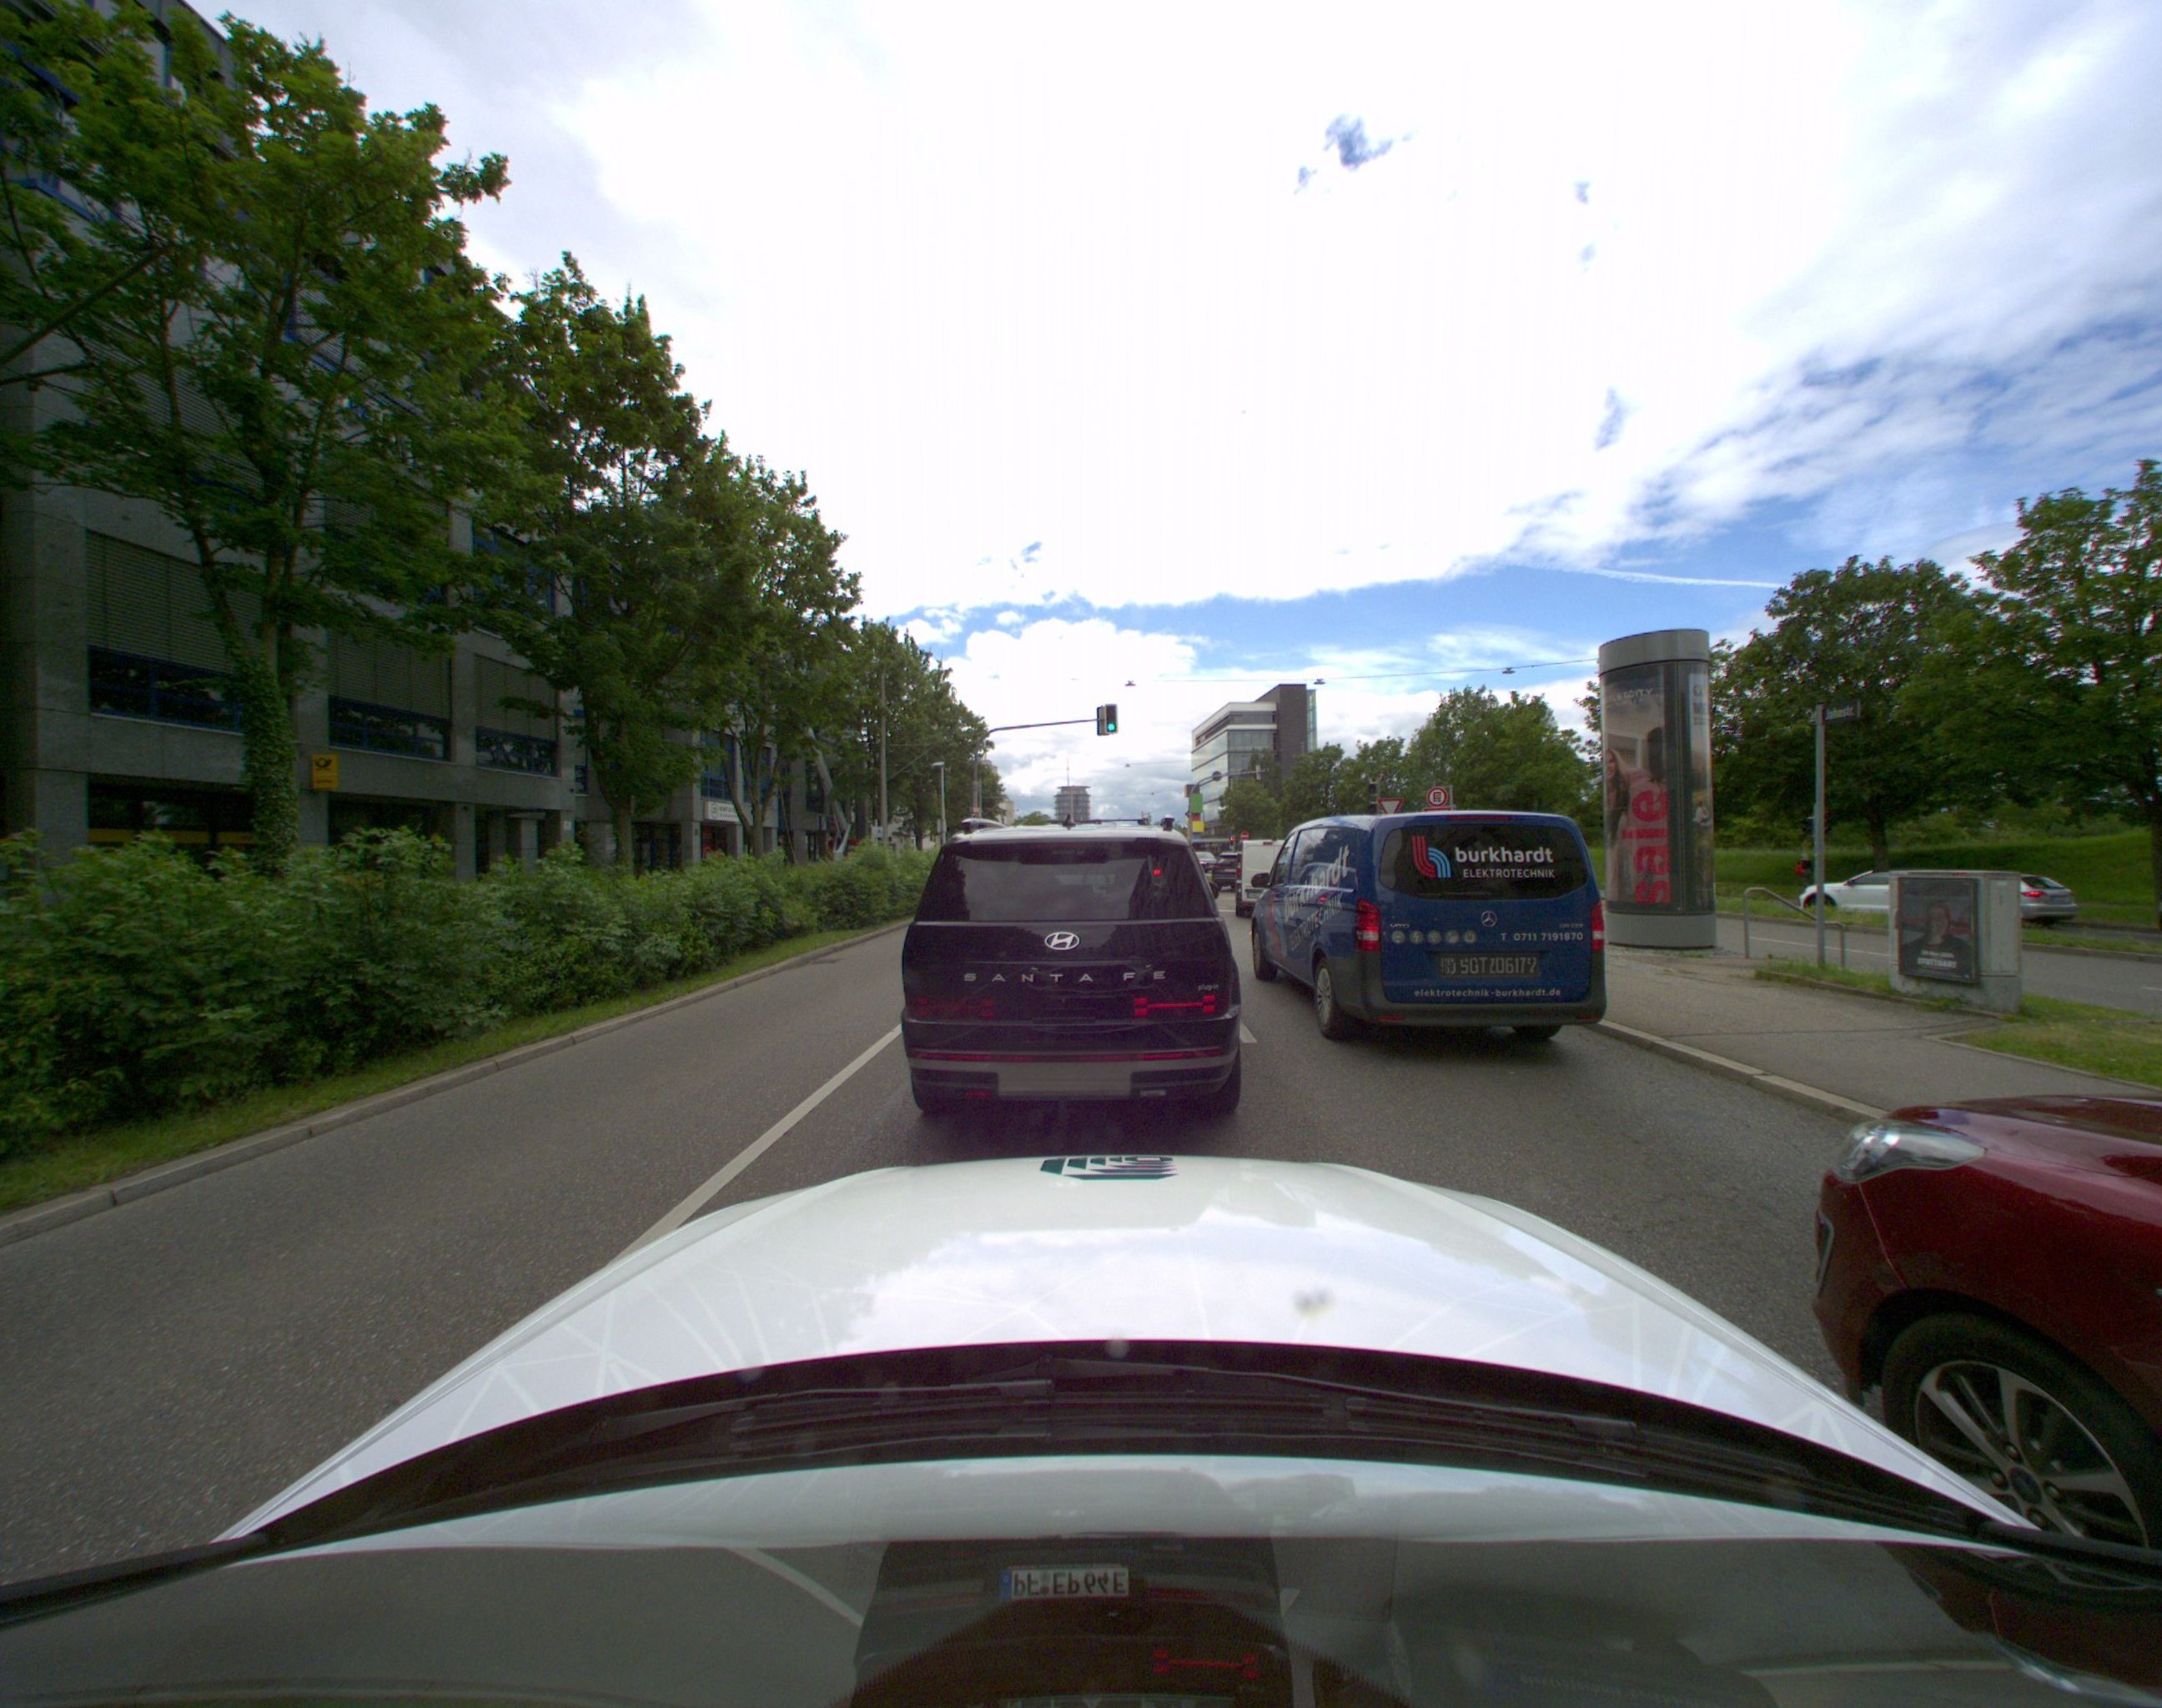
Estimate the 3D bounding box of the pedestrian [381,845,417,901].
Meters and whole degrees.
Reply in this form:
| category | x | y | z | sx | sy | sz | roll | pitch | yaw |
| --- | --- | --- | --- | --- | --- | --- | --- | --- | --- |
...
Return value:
| category | x | y | z | sx | sy | sz | roll | pitch | yaw |
| --- | --- | --- | --- | --- | --- | --- | --- | --- | --- |
| pedestrian | -16.486 | 0.444 | 19.688 | 0.364 | 1.334 | 0.558 | 2 | 0 | -3 |

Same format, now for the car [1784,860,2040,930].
| category | x | y | z | sx | sy | sz | roll | pitch | yaw |
| --- | --- | --- | --- | --- | --- | --- | --- | --- | --- |
| car | 21.624 | 0.983 | 21.497 | 1.850 | 1.529 | 4.472 | 0 | 1 | -11 |

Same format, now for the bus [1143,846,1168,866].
| category | x | y | z | sx | sy | sz | roll | pitch | yaw |
| --- | --- | --- | --- | --- | --- | --- | --- | --- | --- |
| bus | 12.159 | 0.396 | 133.437 | 2.958 | 3.116 | 9.238 | -2 | -1 | -1 |

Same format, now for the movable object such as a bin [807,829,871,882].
| category | x | y | z | sx | sy | sz | roll | pitch | yaw |
| --- | --- | --- | --- | --- | --- | --- | --- | --- | --- |
| movable object such as a bin | -12.233 | 0.060 | 41.415 | 1.898 | 2.531 | 4.128 | 0 | 0 | 1 |

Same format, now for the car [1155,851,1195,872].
| category | x | y | z | sx | sy | sz | roll | pitch | yaw |
| --- | --- | --- | --- | --- | --- | --- | --- | --- | --- |
| car | 6.717 | 0.525 | 58.804 | 1.782 | 1.425 | 4.382 | 0 | 1 | -9 |

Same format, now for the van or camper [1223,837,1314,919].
| category | x | y | z | sx | sy | sz | roll | pitch | yaw |
| --- | --- | --- | --- | --- | --- | --- | --- | --- | --- |
| van or camper | 4.811 | 0.530 | 21.453 | 1.982 | 1.917 | 4.419 | 0 | 1 | 8 |

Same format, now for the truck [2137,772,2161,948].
| category | x | y | z | sx | sy | sz | roll | pitch | yaw |
| --- | --- | --- | --- | --- | --- | --- | --- | --- | --- |
| truck | 26.244 | 0.157 | 14.147 | 2.821 | 3.925 | 9.420 | 0 | 0 | -12 |

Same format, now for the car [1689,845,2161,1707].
| category | x | y | z | sx | sy | sz | roll | pitch | yaw |
| --- | --- | --- | --- | --- | --- | --- | --- | --- | --- |
| car | 2.630 | 0.728 | 0.524 | 1.739 | 1.481 | 3.718 | 0 | 0 | 0 |

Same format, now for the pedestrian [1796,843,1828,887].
| category | x | y | z | sx | sy | sz | roll | pitch | yaw |
| --- | --- | --- | --- | --- | --- | --- | --- | --- | --- |
| pedestrian | 28.250 | 0.410 | 31.481 | 0.538 | 1.604 | 0.704 | -5 | 1 | 10 |

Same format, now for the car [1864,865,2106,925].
| category | x | y | z | sx | sy | sz | roll | pitch | yaw |
| --- | --- | --- | --- | --- | --- | --- | --- | --- | --- |
| car | 25.030 | 1.081 | 22.806 | 1.984 | 1.442 | 4.143 | 0 | 0 | -11 |

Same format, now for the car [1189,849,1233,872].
| category | x | y | z | sx | sy | sz | roll | pitch | yaw |
| --- | --- | --- | --- | --- | --- | --- | --- | --- | --- |
| car | 9.540 | 0.450 | 60.183 | 1.889 | 1.564 | 4.380 | 0 | 1 | -11 |

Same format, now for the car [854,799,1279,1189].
| category | x | y | z | sx | sy | sz | roll | pitch | yaw |
| --- | --- | --- | --- | --- | --- | --- | --- | --- | --- |
| car | 0.006 | 0.621 | 5.879 | 1.895 | 1.731 | 4.448 | 0 | 0 | 2 |

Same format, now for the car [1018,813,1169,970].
| category | x | y | z | sx | sy | sz | roll | pitch | yaw |
| --- | --- | --- | --- | --- | --- | --- | --- | --- | --- |
| car | 0.399 | 0.464 | 12.670 | 1.892 | 1.969 | 4.644 | 0 | 0 | 6 |

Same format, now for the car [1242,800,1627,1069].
| category | x | y | z | sx | sy | sz | roll | pitch | yaw |
| --- | --- | --- | --- | --- | --- | --- | --- | --- | --- |
| car | 2.932 | 0.554 | 8.043 | 1.895 | 1.859 | 4.711 | 0 | 0 | 2 |
